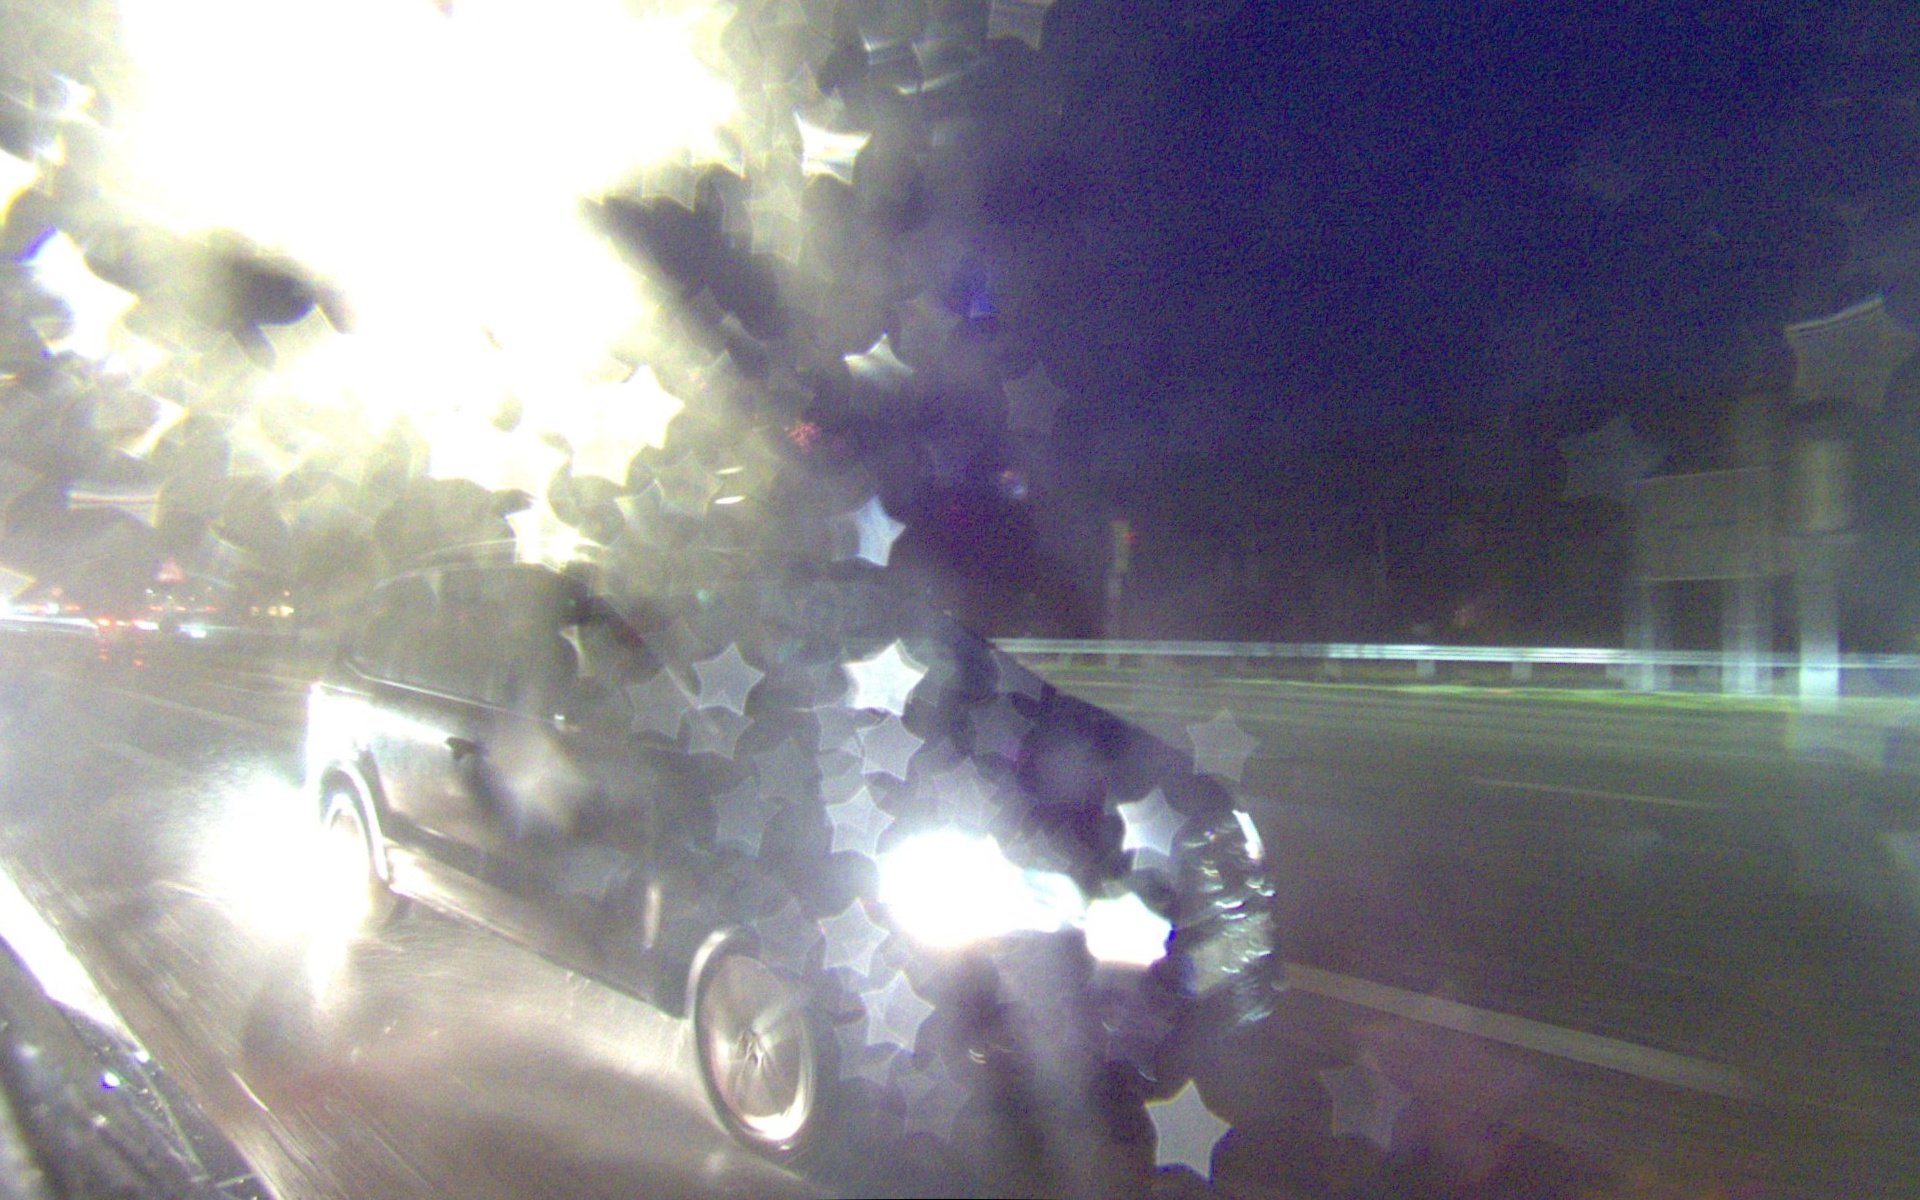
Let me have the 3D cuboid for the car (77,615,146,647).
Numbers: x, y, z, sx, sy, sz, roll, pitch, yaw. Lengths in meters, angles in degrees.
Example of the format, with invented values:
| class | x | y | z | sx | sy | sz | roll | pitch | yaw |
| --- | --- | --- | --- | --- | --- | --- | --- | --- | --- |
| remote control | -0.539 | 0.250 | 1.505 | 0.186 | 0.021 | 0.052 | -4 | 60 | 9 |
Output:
| class | x | y | z | sx | sy | sz | roll | pitch | yaw |
| --- | --- | --- | --- | --- | --- | --- | --- | --- | --- |
| car | -43.720 | 1.600 | 52.108 | 4.366 | 1.510 | 1.639 | 0 | -3 | 36 |

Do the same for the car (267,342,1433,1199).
| class | x | y | z | sx | sy | sz | roll | pitch | yaw |
| --- | --- | --- | --- | --- | --- | --- | --- | --- | --- |
| car | -0.954 | 0.416 | 4.148 | 4.935 | 1.716 | 1.890 | 0 | -1 | 40 |
